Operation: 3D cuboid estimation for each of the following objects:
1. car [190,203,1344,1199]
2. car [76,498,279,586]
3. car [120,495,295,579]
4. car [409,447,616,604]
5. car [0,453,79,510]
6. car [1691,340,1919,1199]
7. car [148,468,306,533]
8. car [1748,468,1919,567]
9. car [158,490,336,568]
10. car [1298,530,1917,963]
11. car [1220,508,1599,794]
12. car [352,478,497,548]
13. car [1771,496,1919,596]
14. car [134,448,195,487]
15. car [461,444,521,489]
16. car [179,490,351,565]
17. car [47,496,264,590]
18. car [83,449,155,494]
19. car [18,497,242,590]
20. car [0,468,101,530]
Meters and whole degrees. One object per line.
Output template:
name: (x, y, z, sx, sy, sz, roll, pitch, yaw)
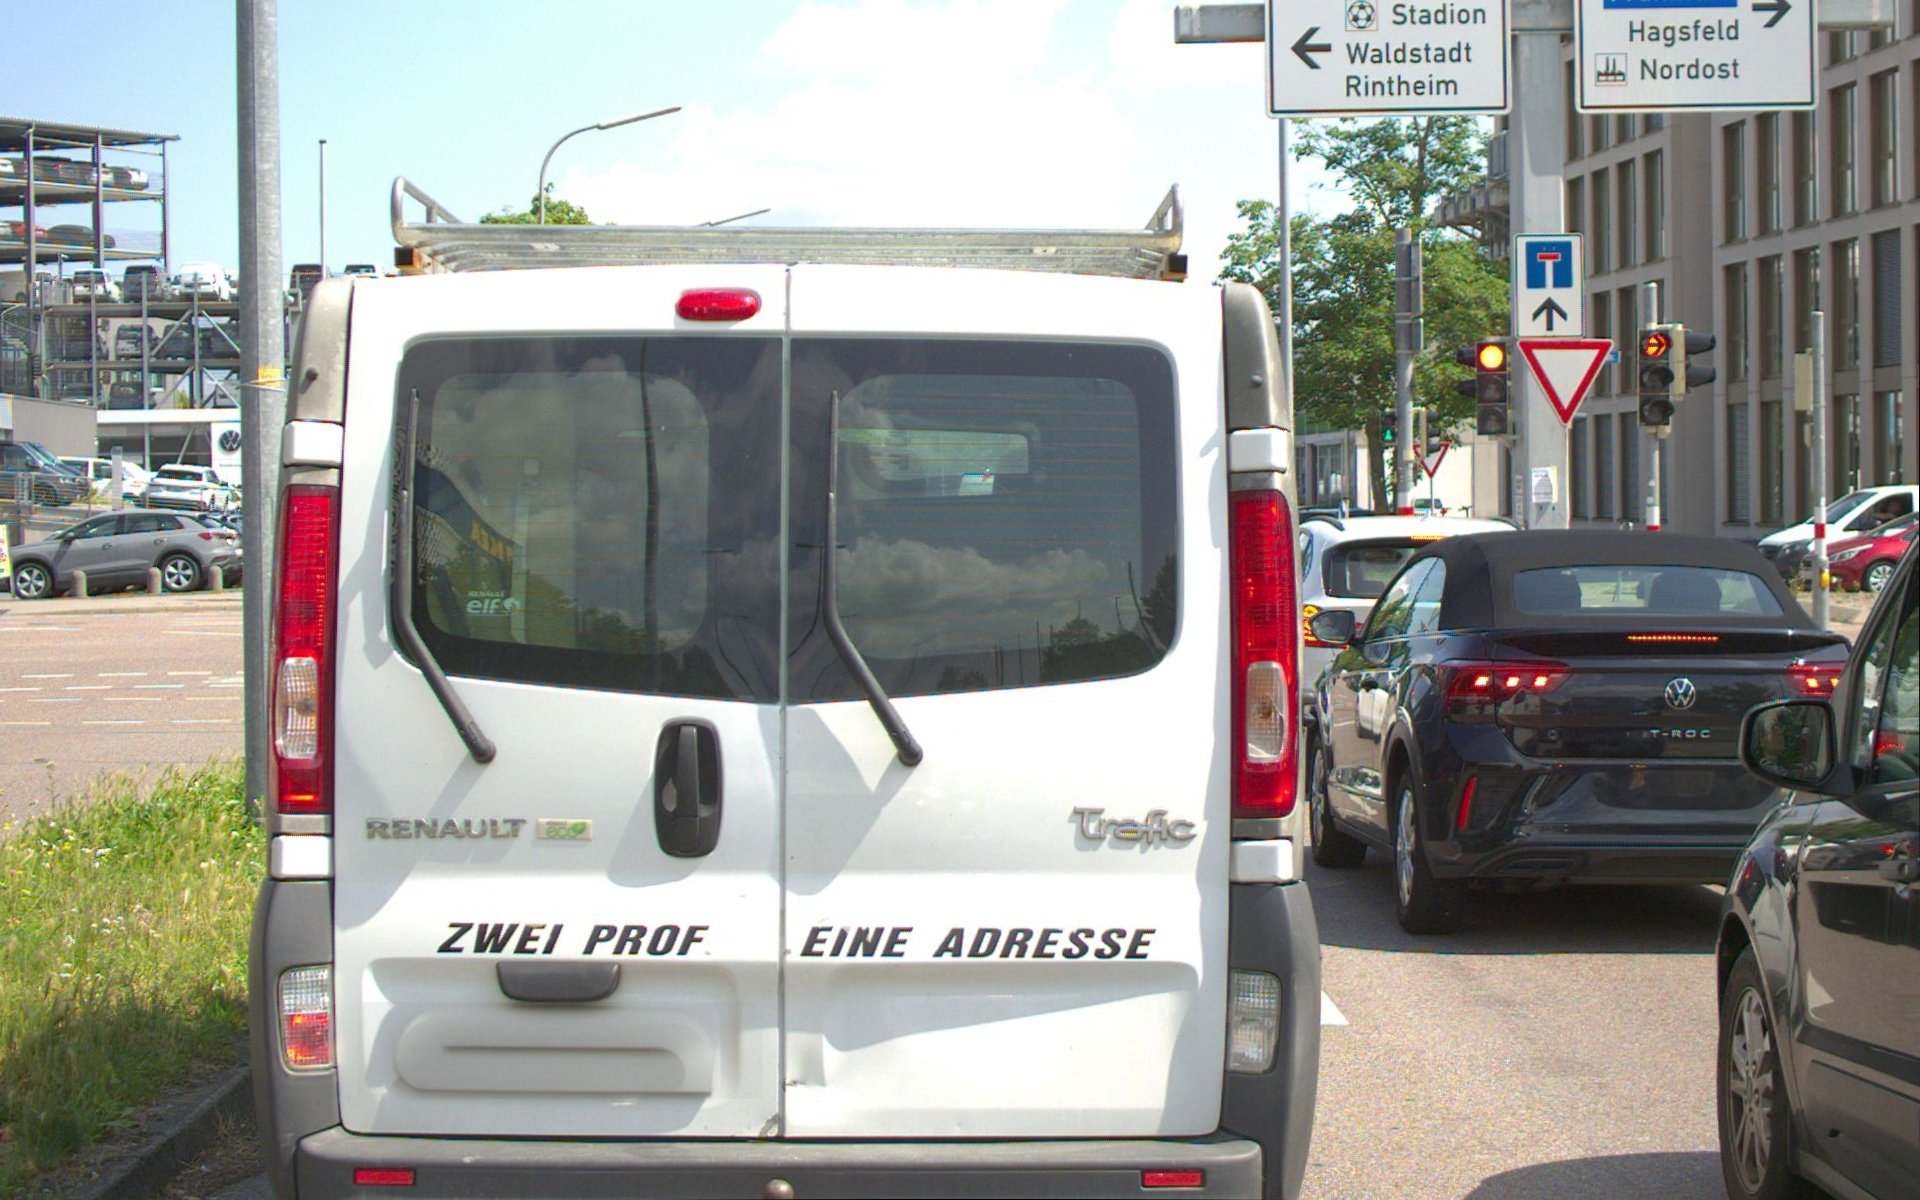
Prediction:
car: (-0.277, 0.330, 7.562, 1.856, 2.011, 4.000, 1, 1, 1)
car: (-16.527, -1.233, 72.758, 3.912, 1.707, 1.689, -2, 2, -4)
car: (-16.600, -1.400, 75.945, 3.507, 1.707, 1.604, -2, 2, -4)
car: (-6.806, -1.200, 52.839, 1.972, 2.248, 4.980, -1, 2, 6)
car: (-29.037, -3.600, 104.477, 4.164, 1.707, 1.689, 0, 1, -6)
car: (2.489, 0.484, 5.675, 1.820, 1.802, 4.000, 1, 1, 2)
car: (-20.521, -2.799, 96.374, 4.164, 1.707, 1.689, 1, 2, -6)
car: (15.731, -1.366, 56.612, 4.982, 1.602, 2.000, 0, 2, -3)
car: (-16.918, -1.697, 81.682, 3.912, 1.707, 1.689, -2, 2, -4)
car: (2.454, 0.475, 13.986, 1.740, 1.490, 4.000, 1, 1, 0)
car: (2.597, 0.244, 20.719, 1.740, 1.538, 4.000, 1, 1, 0)
car: (-15.108, -2.453, 97.125, 3.986, 1.919, 1.827, 0, 1, -7)
car: (14.599, -0.837, 52.624, 3.893, 1.485, 1.795, 0, 2, -1)
car: (-31.734, -5.268, 137.179, 1.845, 1.524, 4.001, 0, 2, -5)
car: (-16.083, -4.586, 117.981, 1.845, 1.524, 4.001, 0, 2, -5)
car: (-17.050, -1.785, 84.462, 3.912, 1.707, 1.689, -2, 2, -4)
car: (-15.900, -1.141, 68.106, 3.912, 1.707, 1.689, -2, 1, -4)
car: (-29.009, -4.431, 118.661, 1.845, 1.524, 4.001, 0, 2, -5)
car: (-15.823, -1.093, 65.712, 3.861, 1.634, 1.858, -2, 2, -4)
car: (-25.946, -2.783, 94.838, 4.164, 1.707, 1.689, 0, 1, -6)
